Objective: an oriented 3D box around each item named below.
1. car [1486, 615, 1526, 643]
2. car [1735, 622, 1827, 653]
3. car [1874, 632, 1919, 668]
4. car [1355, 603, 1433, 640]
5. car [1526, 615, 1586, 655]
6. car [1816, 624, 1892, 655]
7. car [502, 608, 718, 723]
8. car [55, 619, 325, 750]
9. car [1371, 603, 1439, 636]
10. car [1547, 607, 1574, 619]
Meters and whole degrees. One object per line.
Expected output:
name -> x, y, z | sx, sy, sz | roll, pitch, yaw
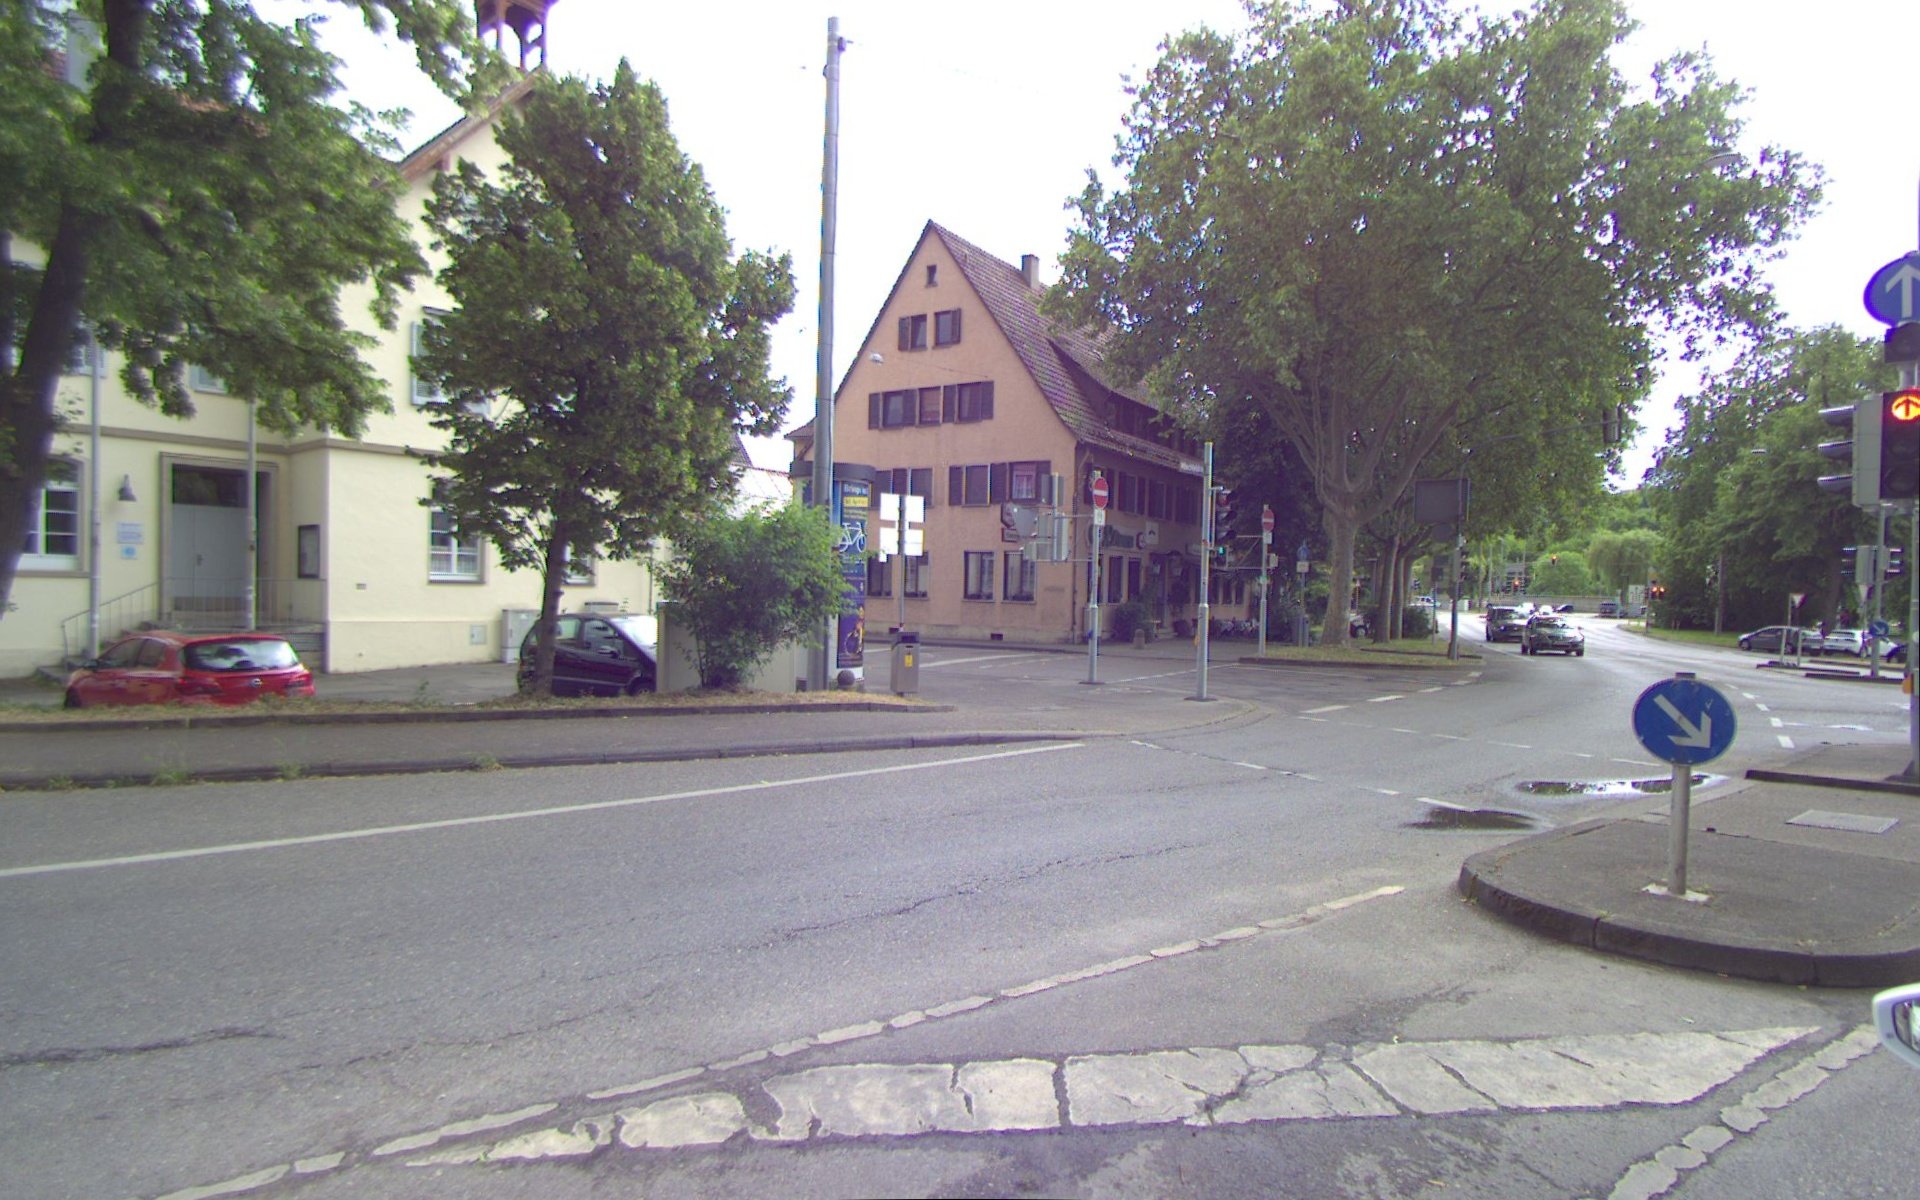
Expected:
car -> 28.962, 1.523, 53.366 | 1.404, 1.435, 2.872 | 1, -1, 19
car -> 43.863, 1.970, 53.758 | 1.559, 1.484, 3.543 | 2, 0, -17
car -> 39.568, 2.079, 40.942 | 1.442, 1.412, 3.596 | 2, 0, 3
car -> 21.408, 1.049, 49.582 | 3.387, 1.663, 1.570 | 2, 0, 28
car -> 22.644, 1.297, 38.255 | 1.404, 1.435, 2.872 | 1, -1, 19
car -> 47.302, 2.083, 53.158 | 3.342, 1.484, 1.543 | 2, 0, -19
car -> -5.766, 1.006, 16.594 | 3.035, 1.654, 1.607 | 2, 0, 22
car -> -10.178, 1.013, 13.247 | 3.492, 1.397, 1.605 | 2, 0, 30
car -> 25.470, 1.088, 57.466 | 3.387, 1.765, 1.570 | 2, 0, 28
car -> 108.237, 2.325, 181.083 | 3.928, 2.040, 1.996 | 2, 0, 30
